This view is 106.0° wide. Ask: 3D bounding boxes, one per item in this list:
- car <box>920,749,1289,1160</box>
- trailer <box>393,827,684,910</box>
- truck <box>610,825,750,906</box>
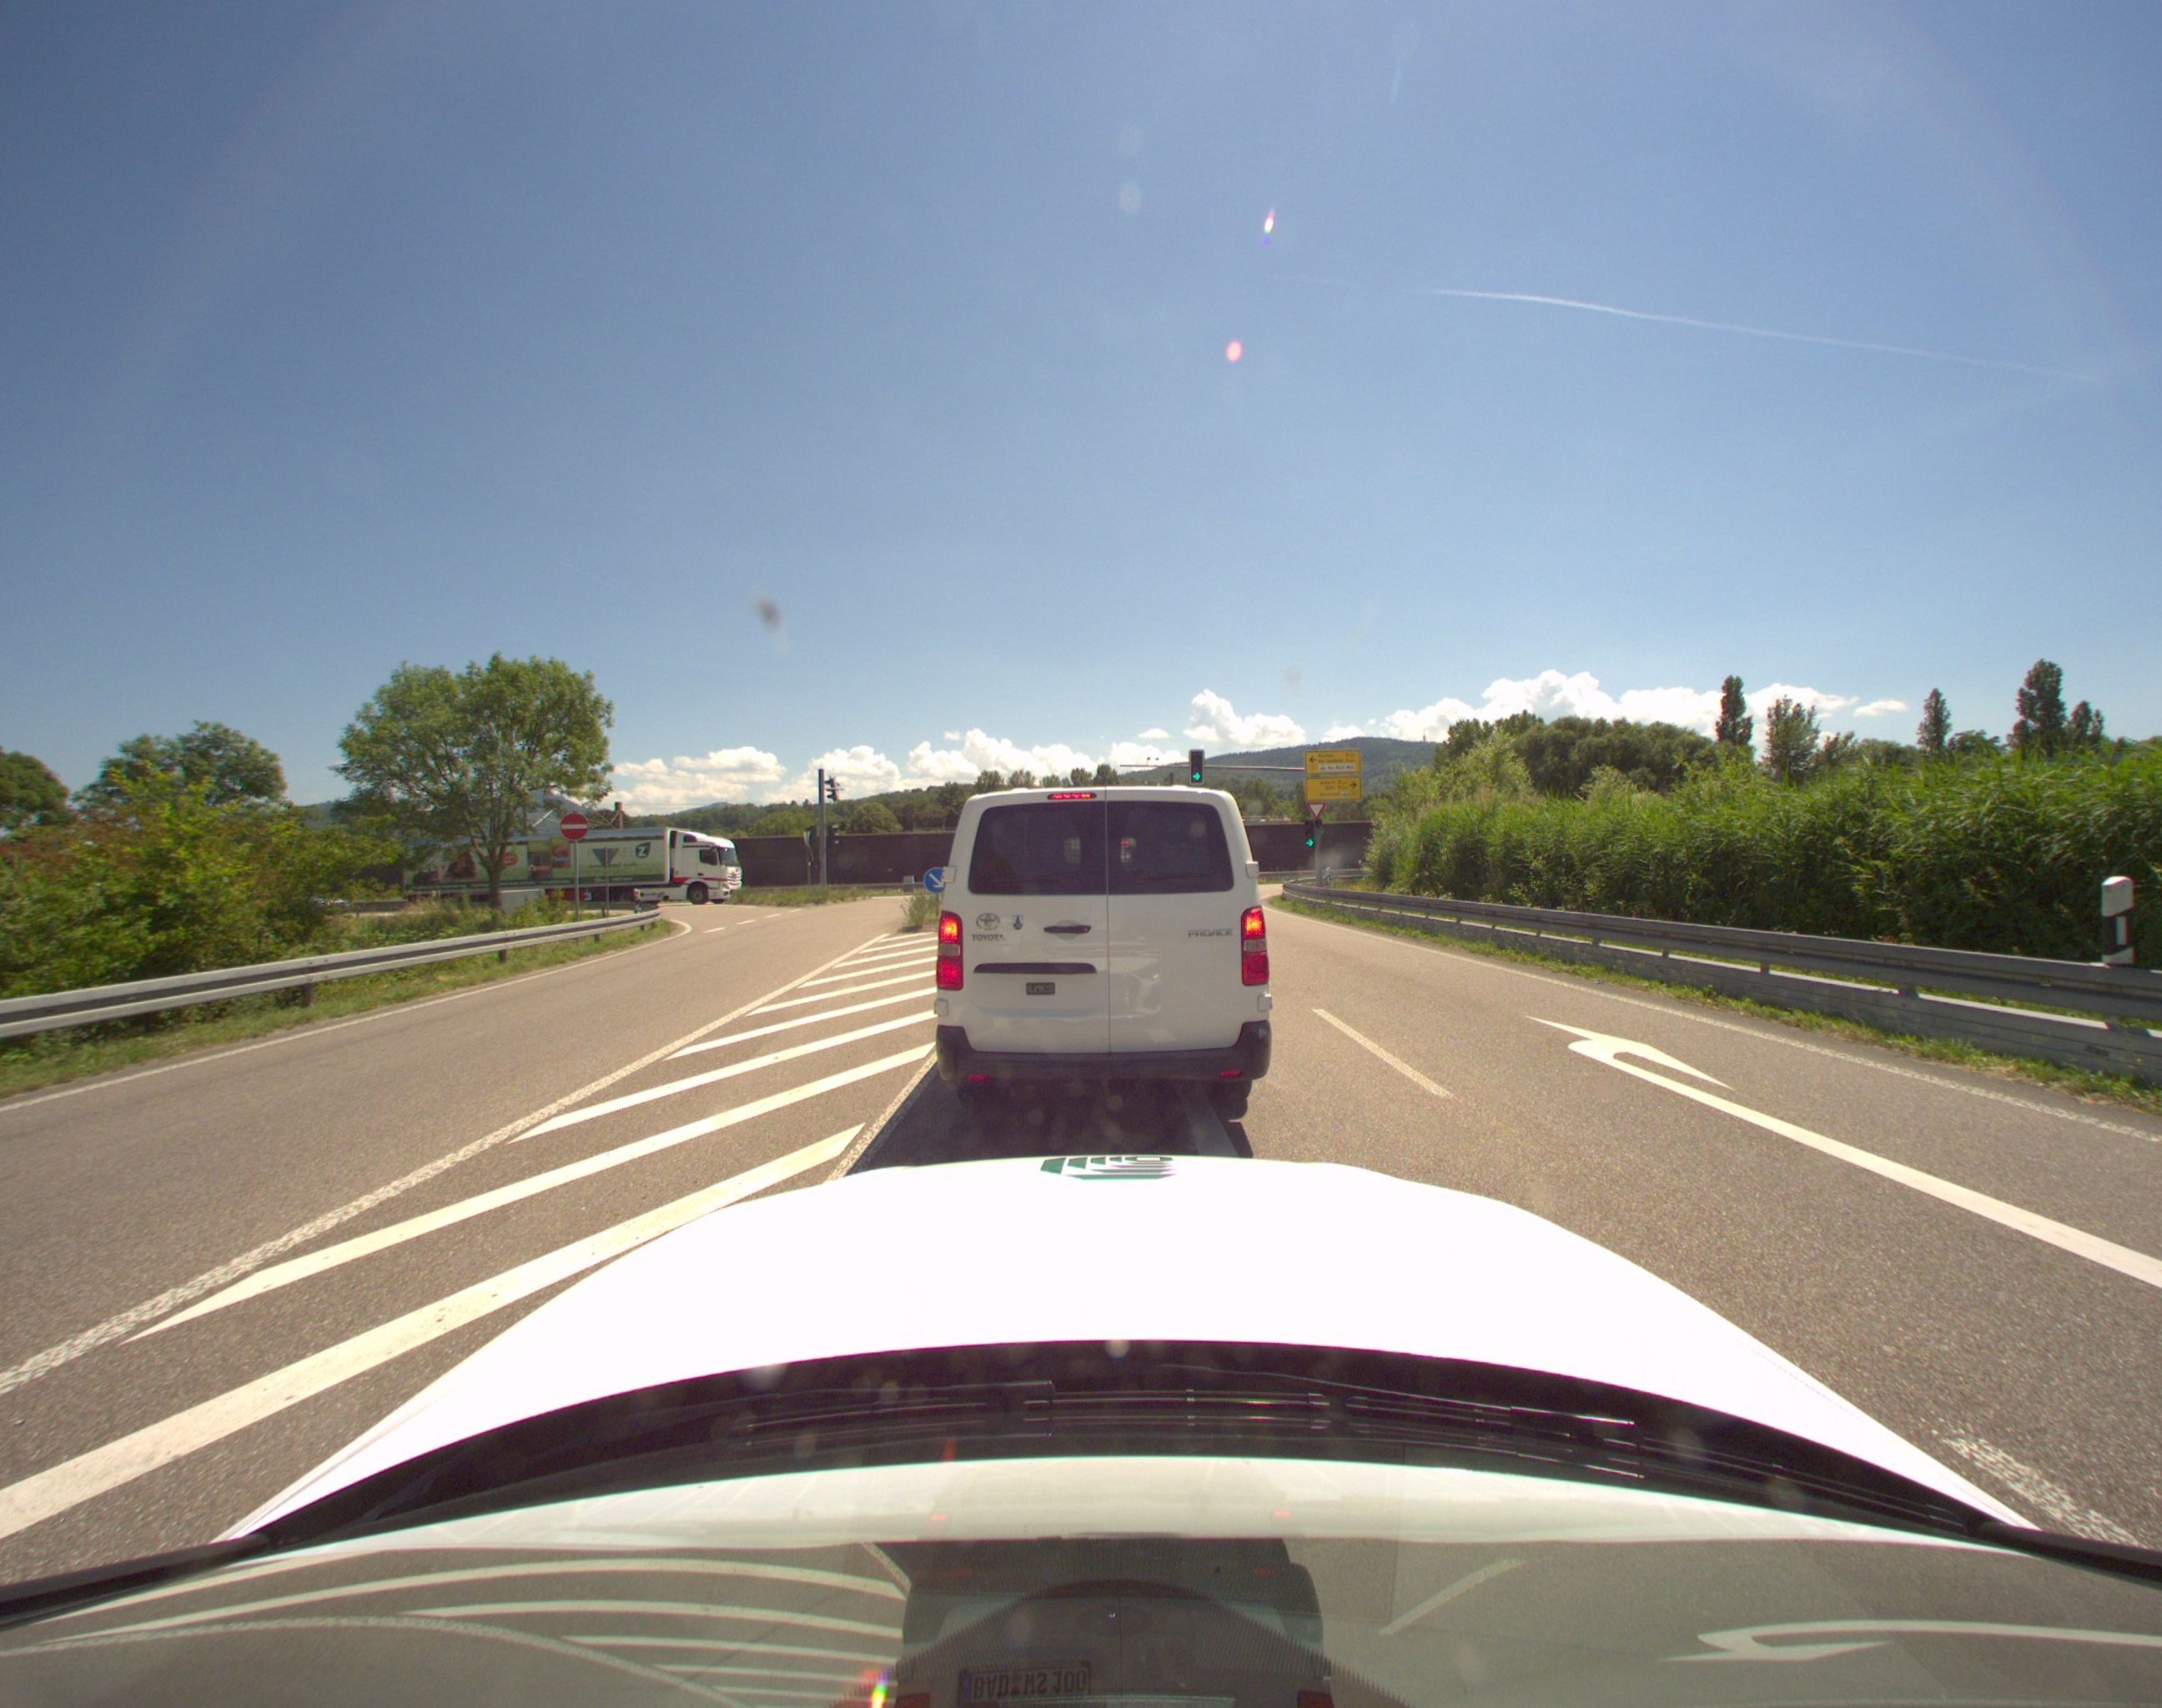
[{"bbox_3d":[0.173,0.520,6.072,1.808,2.017,4.001,-1,-1,2],"label":"car"},{"bbox_3d":[-28.222,0.740,42.753,13.098,3.954,3.061,-1,-1,0],"label":"trailer"},{"bbox_3d":[-20.964,0.602,42.808,5.746,3.954,3.062,-1,-1,0],"label":"truck"}]
